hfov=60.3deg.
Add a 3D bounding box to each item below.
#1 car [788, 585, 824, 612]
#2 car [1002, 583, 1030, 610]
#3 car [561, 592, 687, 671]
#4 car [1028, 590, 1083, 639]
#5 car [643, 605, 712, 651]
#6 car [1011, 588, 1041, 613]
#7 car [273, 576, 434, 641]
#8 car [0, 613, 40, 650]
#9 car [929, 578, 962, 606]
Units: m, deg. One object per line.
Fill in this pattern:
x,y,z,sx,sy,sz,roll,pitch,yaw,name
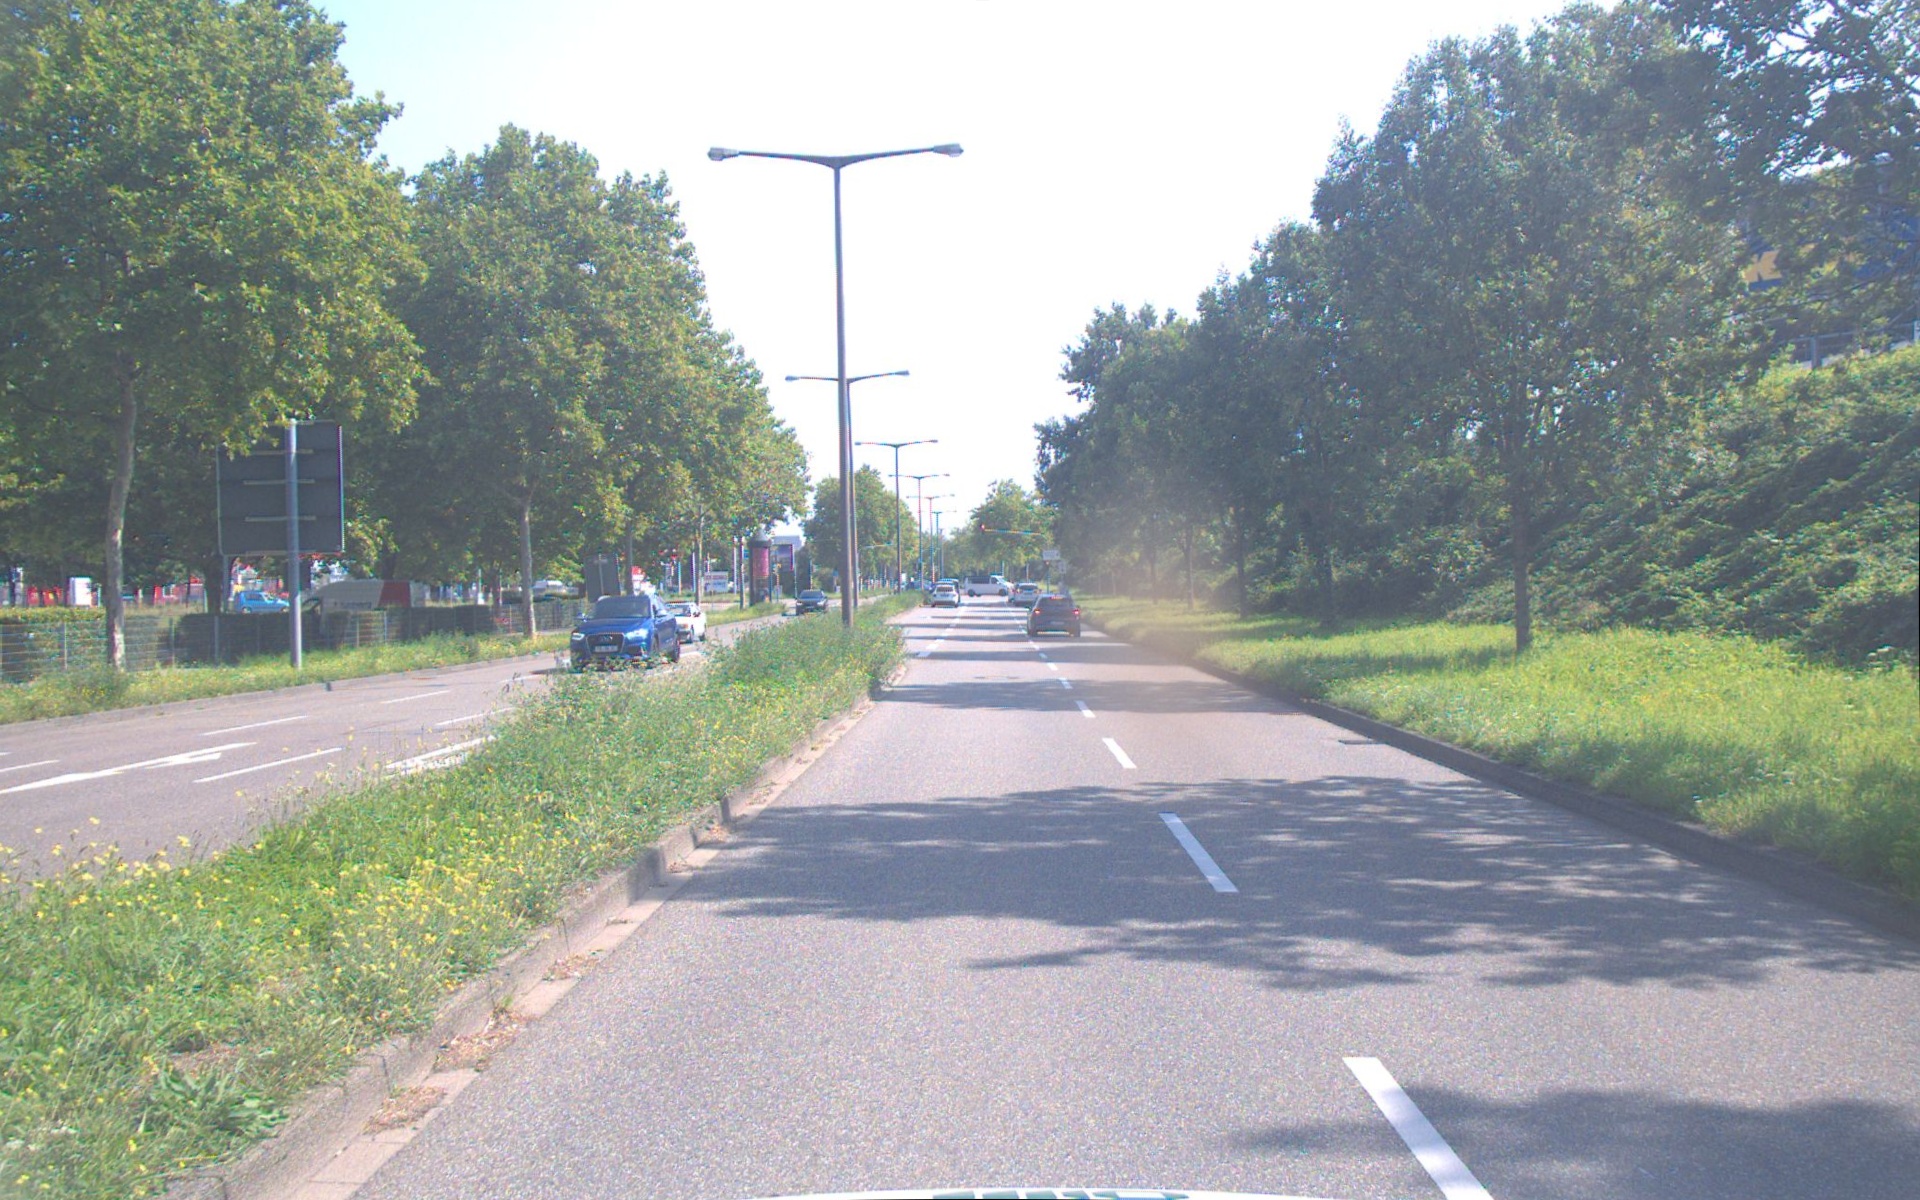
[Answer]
-9.015,-0.068,97.001,1.759,1.441,4.409,-3,0,-2,car
4.402,-0.277,130.729,1.953,1.682,4.003,-2,5,0,car
-7.362,0.652,36.650,1.953,1.612,4.345,-1,0,-1,car
3.321,0.480,57.839,1.744,1.452,4.002,1,3,1,car
-9.649,0.933,56.796,1.759,1.441,4.408,-3,0,-3,car
4.633,0.021,116.873,1.952,1.683,4.000,-2,0,1,car
-23.910,0.312,65.342,5.470,2.377,2.279,0,3,-1,car
-45.707,1.489,79.888,1.910,1.477,3.953,-1,3,-34,car
-0.927,-0.517,109.167,1.952,1.731,4.001,-2,0,2,car
